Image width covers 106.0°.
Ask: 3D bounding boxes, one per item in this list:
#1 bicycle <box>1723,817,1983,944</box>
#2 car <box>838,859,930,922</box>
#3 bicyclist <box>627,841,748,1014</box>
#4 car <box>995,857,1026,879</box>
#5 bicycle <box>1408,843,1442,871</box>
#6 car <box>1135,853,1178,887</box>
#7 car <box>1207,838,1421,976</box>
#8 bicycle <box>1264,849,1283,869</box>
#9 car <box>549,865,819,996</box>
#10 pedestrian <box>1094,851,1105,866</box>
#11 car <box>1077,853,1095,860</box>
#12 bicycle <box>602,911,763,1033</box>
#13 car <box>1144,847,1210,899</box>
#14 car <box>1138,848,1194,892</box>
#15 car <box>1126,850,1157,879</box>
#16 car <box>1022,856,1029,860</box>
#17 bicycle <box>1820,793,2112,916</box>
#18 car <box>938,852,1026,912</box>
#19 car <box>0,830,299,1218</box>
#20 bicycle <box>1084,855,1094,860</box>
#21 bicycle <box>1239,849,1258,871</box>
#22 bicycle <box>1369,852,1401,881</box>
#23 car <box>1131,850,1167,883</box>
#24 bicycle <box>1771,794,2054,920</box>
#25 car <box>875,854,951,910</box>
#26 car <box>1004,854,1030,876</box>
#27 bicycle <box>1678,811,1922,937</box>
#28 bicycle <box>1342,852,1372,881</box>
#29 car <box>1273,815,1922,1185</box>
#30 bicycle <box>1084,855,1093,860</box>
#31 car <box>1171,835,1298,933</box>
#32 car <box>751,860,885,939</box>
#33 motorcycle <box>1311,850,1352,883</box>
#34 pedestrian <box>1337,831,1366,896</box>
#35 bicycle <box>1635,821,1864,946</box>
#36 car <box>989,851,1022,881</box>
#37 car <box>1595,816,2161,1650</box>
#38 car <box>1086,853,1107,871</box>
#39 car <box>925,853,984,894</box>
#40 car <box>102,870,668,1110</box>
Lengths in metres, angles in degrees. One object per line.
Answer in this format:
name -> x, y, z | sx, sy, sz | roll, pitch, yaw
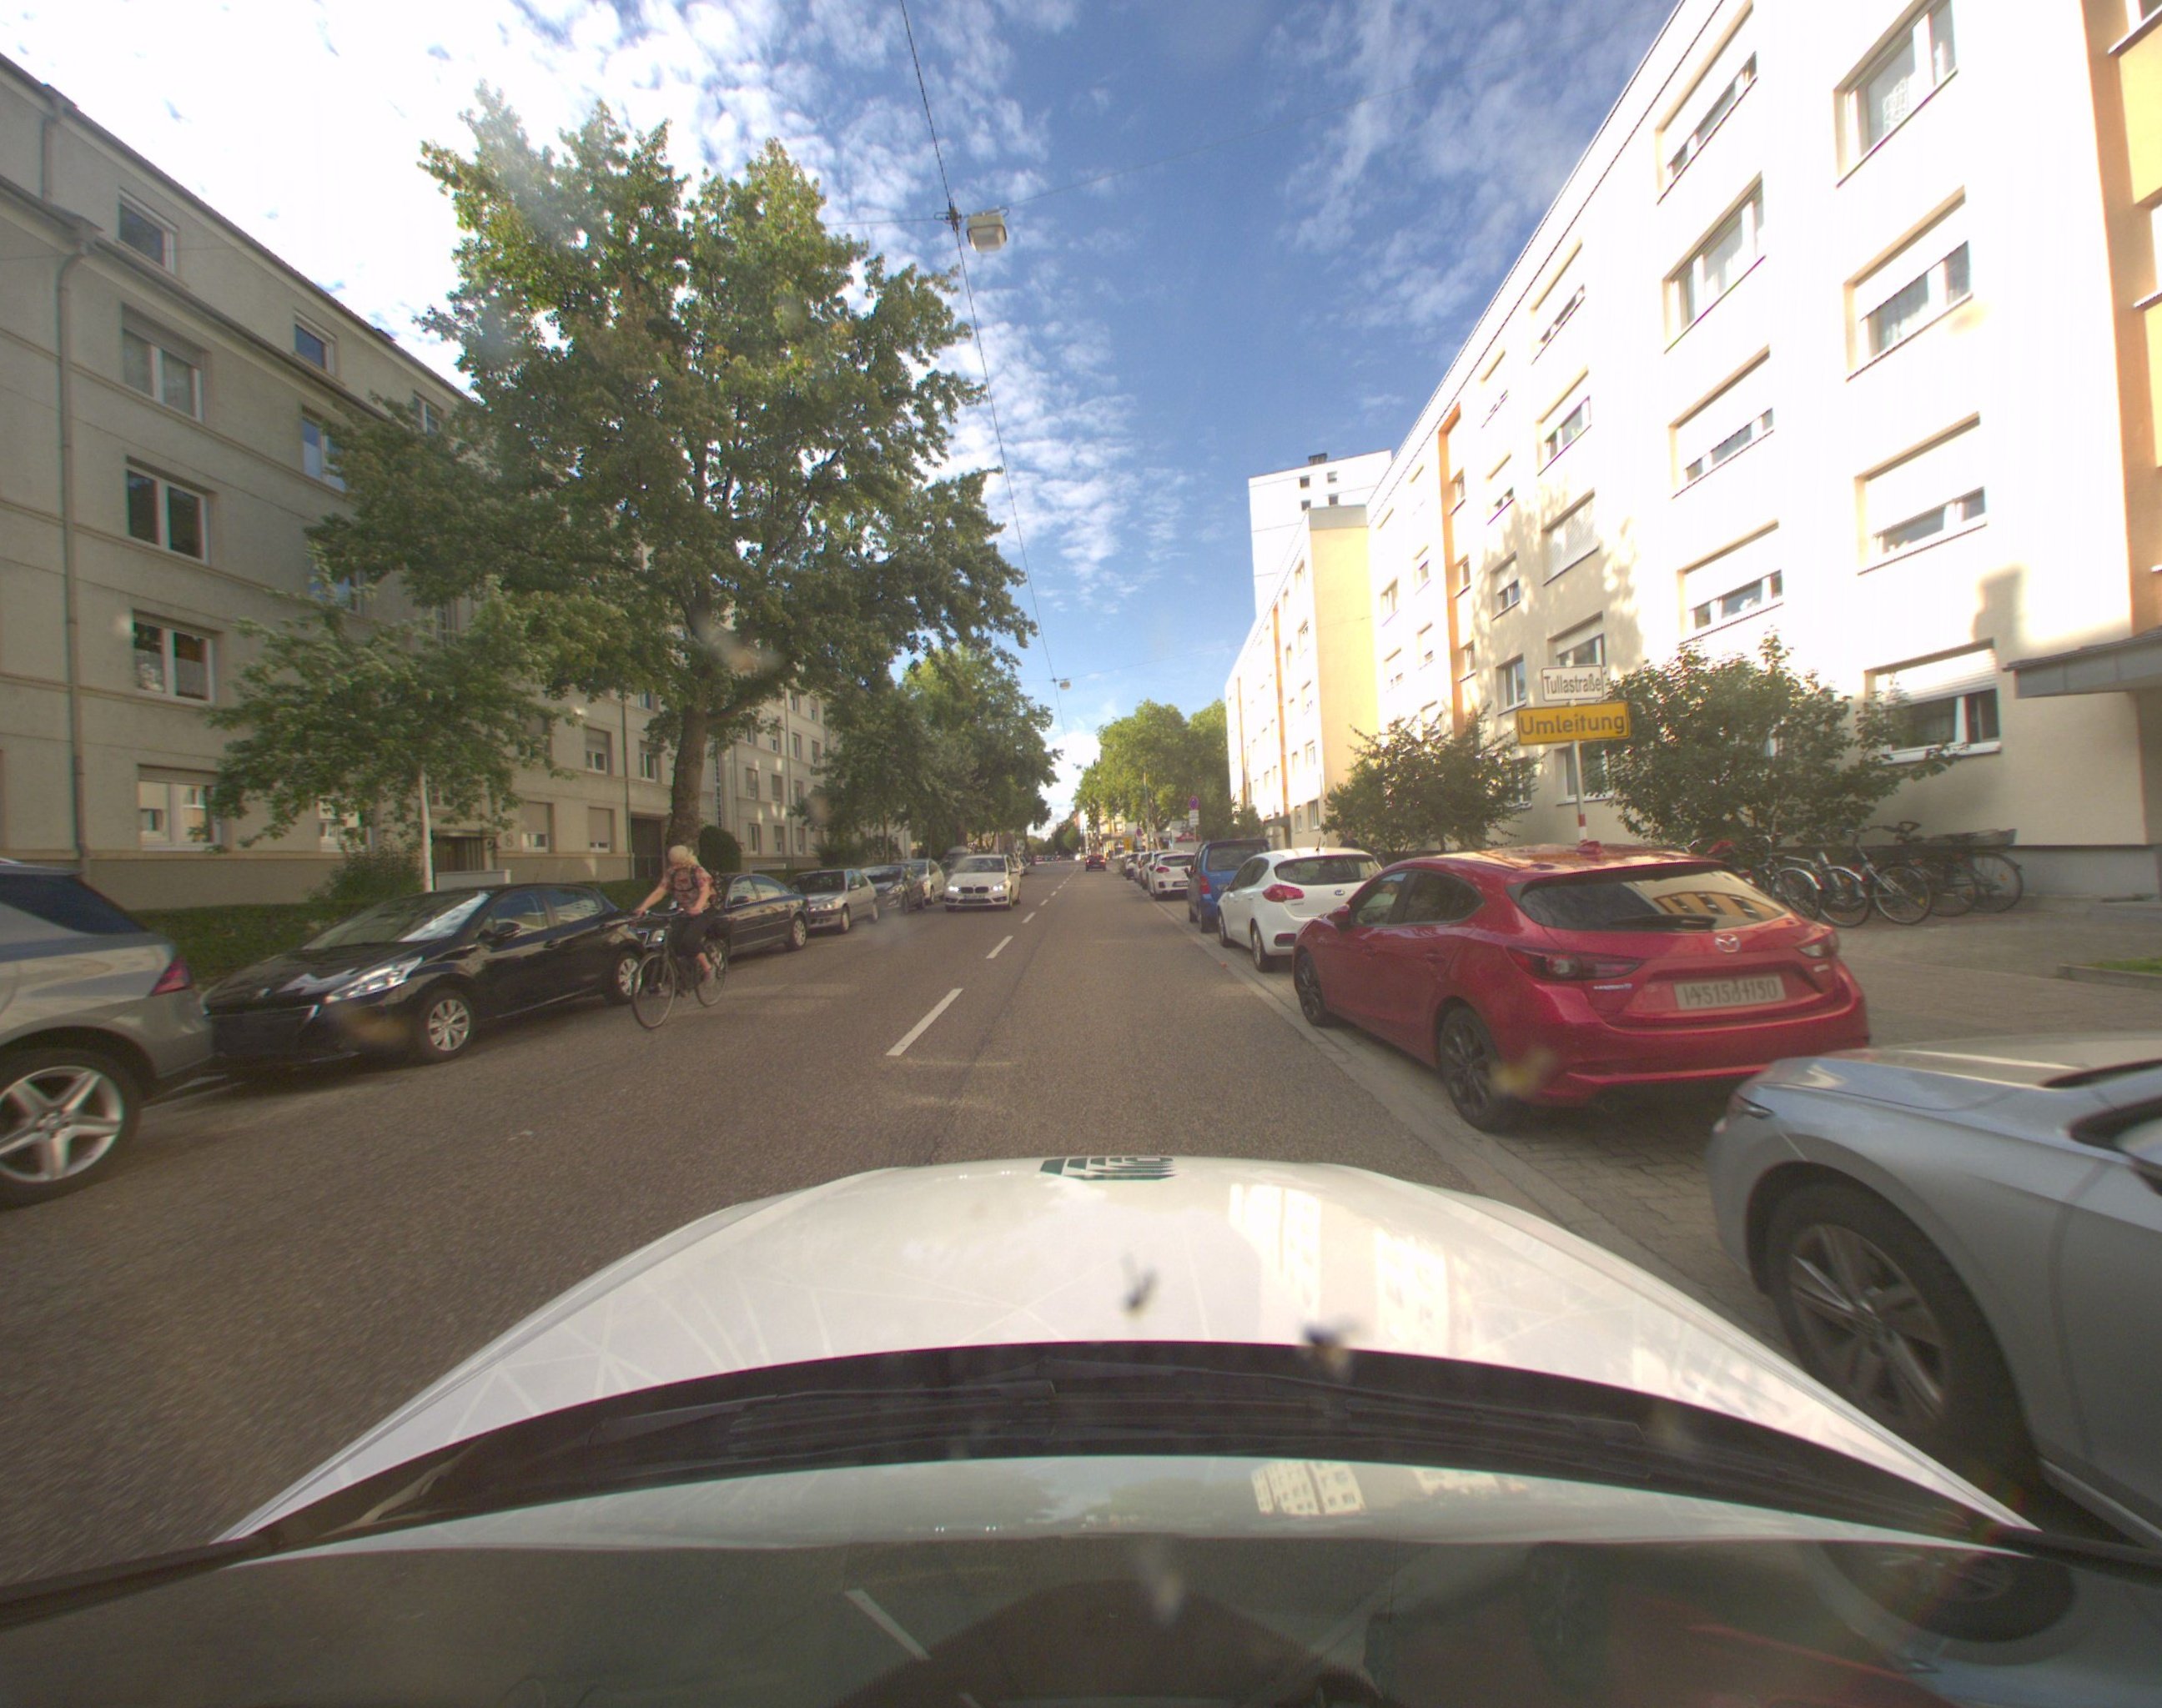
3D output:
bicycle -> 9.183, 0.285, 9.910 | 0.593, 1.291, 2.636 | -5, -1, 1
car -> -5.531, 0.958, 23.321 | 1.610, 1.468, 4.011 | -5, 0, -1
bicyclist -> -3.924, 0.702, 8.198 | 0.639, 1.600, 0.990 | -3, -1, 1
car -> -5.312, 1.051, 62.007 | 1.792, 1.493, 3.804 | -5, 0, 2
bicycle -> 11.795, 0.106, 27.958 | 0.457, 0.927, 1.516 | -3, 0, 0
car -> 3.422, 0.728, 37.471 | 1.511, 1.398, 3.674 | -3, 0, -1
car -> 2.950, 0.611, 11.265 | 1.723, 1.461, 4.116 | -3, 0, 0
bicycle -> 11.173, 0.290, 47.338 | 0.527, 1.115, 2.209 | -3, 0, 1
car -> -5.855, 1.023, 12.759 | 1.678, 1.480, 4.456 | -6, 0, 4
pedestrian -> 2.151, 0.563, 96.713 | 1.076, 1.753, 0.914 | -1, 0, -16
car -> 1.151, 0.492, 188.066 | 3.983, 1.420, 1.995 | -3, 0, -7
bicycle -> -3.898, 1.115, 8.154 | 0.640, 0.923, 1.858 | -2, 0, 1
car -> 3.088, 0.580, 26.902 | 1.722, 1.487, 4.644 | -3, 0, 2
car -> 3.342, 0.616, 32.715 | 1.723, 1.580, 4.116 | -3, 0, 0
car -> 3.470, 0.577, 47.249 | 1.683, 1.528, 4.241 | -2, 0, 3
car -> -15.859, 1.124, 233.183 | 1.546, 1.230, 3.587 | -2, 0, 0
bicycle -> 10.608, 0.012, 9.978 | 0.724, 1.291, 2.636 | -2, 0, 1
car -> -2.746, 0.732, 23.393 | 1.852, 1.528, 4.012 | -2, 0, 2
car -> -5.969, 0.851, 2.679 | 1.871, 1.793, 4.969 | -5, 0, 0
bicycle -> 1.849, 0.857, 185.740 | 2.025, 1.082, 0.617 | -3, 0, -13
bicycle -> 9.741, 0.355, 47.535 | 0.595, 1.186, 2.209 | -5, 0, 1
bicycle -> 10.370, 0.407, 27.833 | 0.457, 0.927, 1.516 | -3, 0, 0
car -> 3.424, 0.591, 41.441 | 1.545, 1.557, 3.469 | -2, 0, 1
bicycle -> 9.894, 0.034, 9.913 | 0.724, 1.291, 2.636 | -3, 0, 1
car -> -5.781, 0.910, 28.483 | 1.734, 1.620, 3.993 | -6, 0, -1
car -> -5.200, 0.857, 66.584 | 1.794, 1.620, 3.801 | -5, 0, -1
bicycle -> 8.572, 0.219, 9.935 | 0.602, 1.291, 2.636 | -4, 0, 1
bicycle -> 9.493, 0.405, 28.040 | 0.457, 0.941, 1.516 | -3, 0, 0
car -> 2.786, 0.648, 5.689 | 1.724, 1.515, 4.188 | -3, 0, -2
bicycle -> 1.741, 0.883, 186.356 | 2.025, 1.082, 0.628 | -3, 0, -13
car -> 2.971, 0.552, 16.597 | 1.723, 1.649, 4.116 | -3, 0, 0
car -> -5.767, 0.937, 18.373 | 1.595, 1.418, 3.964 | -5, 0, 0
motorcycle -> 8.589, 0.419, 28.054 | 0.628, 1.044, 2.393 | -4, 0, 0
pedestrian -> 7.421, 0.256, 22.387 | 0.539, 1.721, 0.773 | -2, 0, 6
bicycle -> 7.945, 0.316, 9.904 | 0.602, 1.291, 2.636 | -3, 0, 1
car -> -5.219, 0.793, 56.882 | 1.717, 1.882, 4.192 | -4, 0, 0
car -> 2.669, 0.630, 0.854 | 1.656, 1.416, 4.059 | -4, 0, 1
car -> 1.351, 0.661, 70.748 | 1.746, 1.413, 4.000 | -2, 0, 0
car -> -5.759, 0.837, 37.624 | 1.792, 1.668, 4.484 | -5, 0, 2
car -> -6.038, 1.020, 7.887 | 1.678, 1.480, 4.122 | -6, 0, 3
